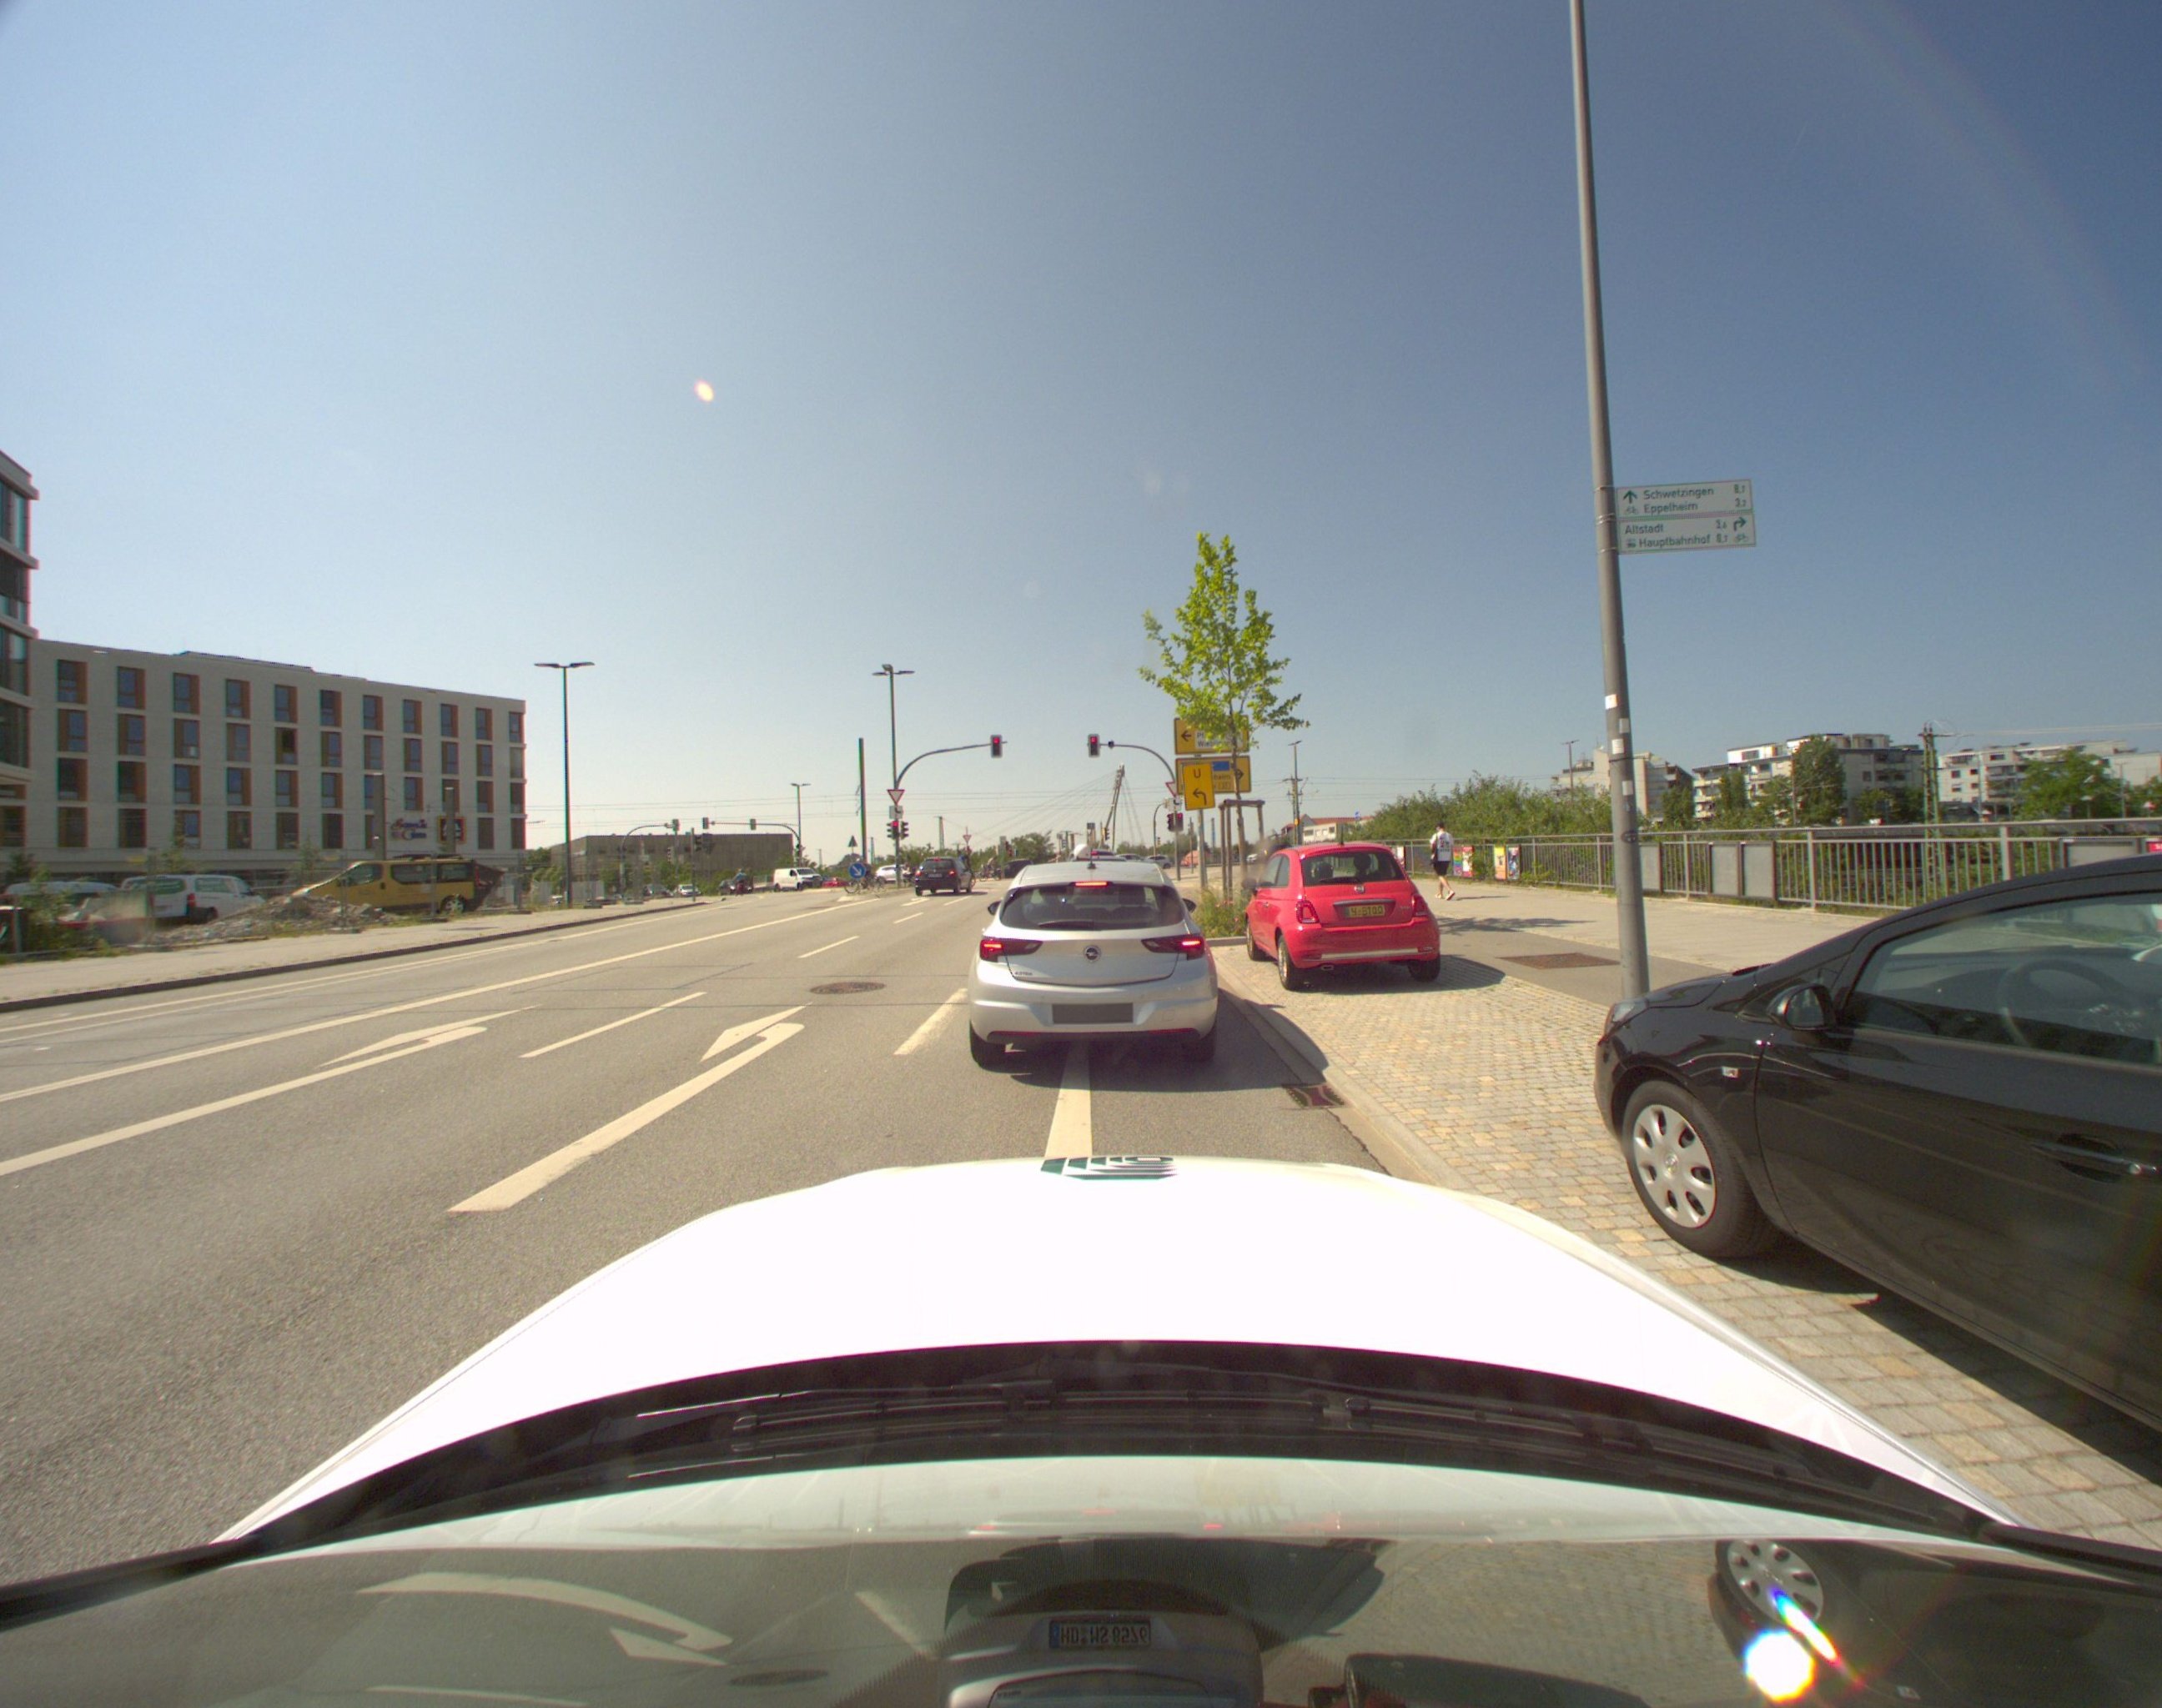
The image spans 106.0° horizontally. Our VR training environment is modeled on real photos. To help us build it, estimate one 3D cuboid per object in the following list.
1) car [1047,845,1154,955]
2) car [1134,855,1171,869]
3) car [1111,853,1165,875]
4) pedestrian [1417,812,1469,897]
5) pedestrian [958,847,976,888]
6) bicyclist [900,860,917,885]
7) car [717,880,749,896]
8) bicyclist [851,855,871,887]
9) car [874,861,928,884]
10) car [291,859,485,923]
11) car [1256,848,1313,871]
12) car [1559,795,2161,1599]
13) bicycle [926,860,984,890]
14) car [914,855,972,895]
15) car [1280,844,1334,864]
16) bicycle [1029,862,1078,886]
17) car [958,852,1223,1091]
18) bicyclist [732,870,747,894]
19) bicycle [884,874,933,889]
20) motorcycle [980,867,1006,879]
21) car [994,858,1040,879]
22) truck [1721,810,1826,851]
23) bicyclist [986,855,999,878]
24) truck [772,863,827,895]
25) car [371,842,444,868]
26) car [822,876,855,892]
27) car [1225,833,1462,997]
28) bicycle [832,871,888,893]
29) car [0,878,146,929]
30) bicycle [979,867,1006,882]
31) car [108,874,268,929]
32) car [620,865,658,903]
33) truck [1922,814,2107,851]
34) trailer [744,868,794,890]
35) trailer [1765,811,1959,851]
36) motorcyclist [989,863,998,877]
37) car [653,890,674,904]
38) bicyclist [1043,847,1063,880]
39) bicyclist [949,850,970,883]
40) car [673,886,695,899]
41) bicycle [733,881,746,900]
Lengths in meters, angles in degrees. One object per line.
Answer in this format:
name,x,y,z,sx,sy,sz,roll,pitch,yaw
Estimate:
car,0.337,0.727,14.264,1.629,1.674,3.745,0,-1,1
car,6.772,0.716,76.880,3.212,1.304,1.518,0,-1,-11
car,4.378,0.790,62.799,3.966,1.551,1.673,-2,-1,-4
pedestrian,7.979,0.019,17.969,0.755,1.830,0.885,0,-1,1
pedestrian,-5.226,0.634,37.406,0.738,1.863,0.753,0,-1,-3
bicyclist,-8.325,0.900,39.278,0.654,1.175,0.731,0,-1,3
car,-31.921,3.104,74.642,1.675,1.390,3.742,1,-1,-41
bicyclist,-10.413,0.788,38.570,0.654,1.502,0.844,0,-1,3
car,-14.613,1.472,66.129,3.995,1.815,1.943,-1,-1,27
car,-22.461,1.121,26.544,1.974,1.890,4.514,-1,-1,40
car,15.253,0.413,61.154,3.749,1.583,1.807,-1,-1,-11
car,2.870,0.639,1.738,1.576,1.555,3.548,-4,0,1
bicycle,-5.960,1.007,38.680,2.513,1.134,0.729,-6,2,4
car,-5.224,0.786,31.165,1.581,1.395,3.340,-1,-1,1
car,17.737,0.009,64.108,3.782,1.362,1.530,-2,0,-4
bicycle,-1.329,0.974,39.404,2.351,1.127,0.677,0,-1,-2
car,0.105,0.767,7.397,1.685,1.520,4.271,-1,0,1
bicyclist,-21.678,1.745,51.705,0.825,1.504,0.715,0,-1,-25
bicycle,-8.322,1.319,39.273,2.237,0.692,0.516,-1,-1,2
motorcycle,-9.040,1.964,83.694,2.528,1.233,0.648,0,-1,0
car,-6.001,1.375,76.847,3.966,2.014,2.004,0,-1,6
truck,58.328,-1.914,68.680,6.478,3.204,3.721,0,-1,-14
bicyclist,-6.282,0.914,57.865,0.769,1.610,0.949,0,-1,0
truck,-23.005,2.024,66.423,4.648,2.540,2.013,-1,-1,38
car,-54.291,0.092,65.713,3.990,2.014,1.991,0,-1,-12
car,-25.538,3.156,85.594,3.347,1.655,1.658,-1,-1,36
car,2.958,0.564,10.062,1.663,1.539,3.918,-3,1,1
bicycle,-10.455,1.322,38.561,2.494,1.007,0.605,-1,-1,2
car,-33.681,1.576,27.198,1.809,1.508,3.965,0,-1,-27
bicycle,-6.267,1.469,57.905,1.859,1.068,0.578,0,-1,1
car,-31.076,1.598,28.558,2.003,1.707,4.526,0,-1,-23
car,-24.184,1.602,44.619,1.679,2.014,3.965,0,-1,-27
truck,87.613,-1.907,76.407,17.857,3.204,3.723,0,-1,-14
trailer,-26.471,2.078,69.071,4.230,1.776,2.013,-1,-1,38
trailer,68.378,-1.917,71.264,17.226,3.204,3.723,0,-1,-14
motorcyclist,-8.958,1.648,83.692,0.806,1.476,0.885,0,-1,1
car,-46.984,4.840,91.616,1.593,1.439,3.119,1,-1,-35
bicyclist,-1.336,0.449,39.435,0.943,1.569,0.822,0,-1,-2
bicyclist,-5.756,0.610,38.690,0.818,1.560,0.864,0,-1,4
car,-40.529,3.931,83.182,2.453,1.240,1.287,-2,-1,44
bicycle,-21.742,2.338,51.829,0.638,1.133,2.307,-1,-1,-25
